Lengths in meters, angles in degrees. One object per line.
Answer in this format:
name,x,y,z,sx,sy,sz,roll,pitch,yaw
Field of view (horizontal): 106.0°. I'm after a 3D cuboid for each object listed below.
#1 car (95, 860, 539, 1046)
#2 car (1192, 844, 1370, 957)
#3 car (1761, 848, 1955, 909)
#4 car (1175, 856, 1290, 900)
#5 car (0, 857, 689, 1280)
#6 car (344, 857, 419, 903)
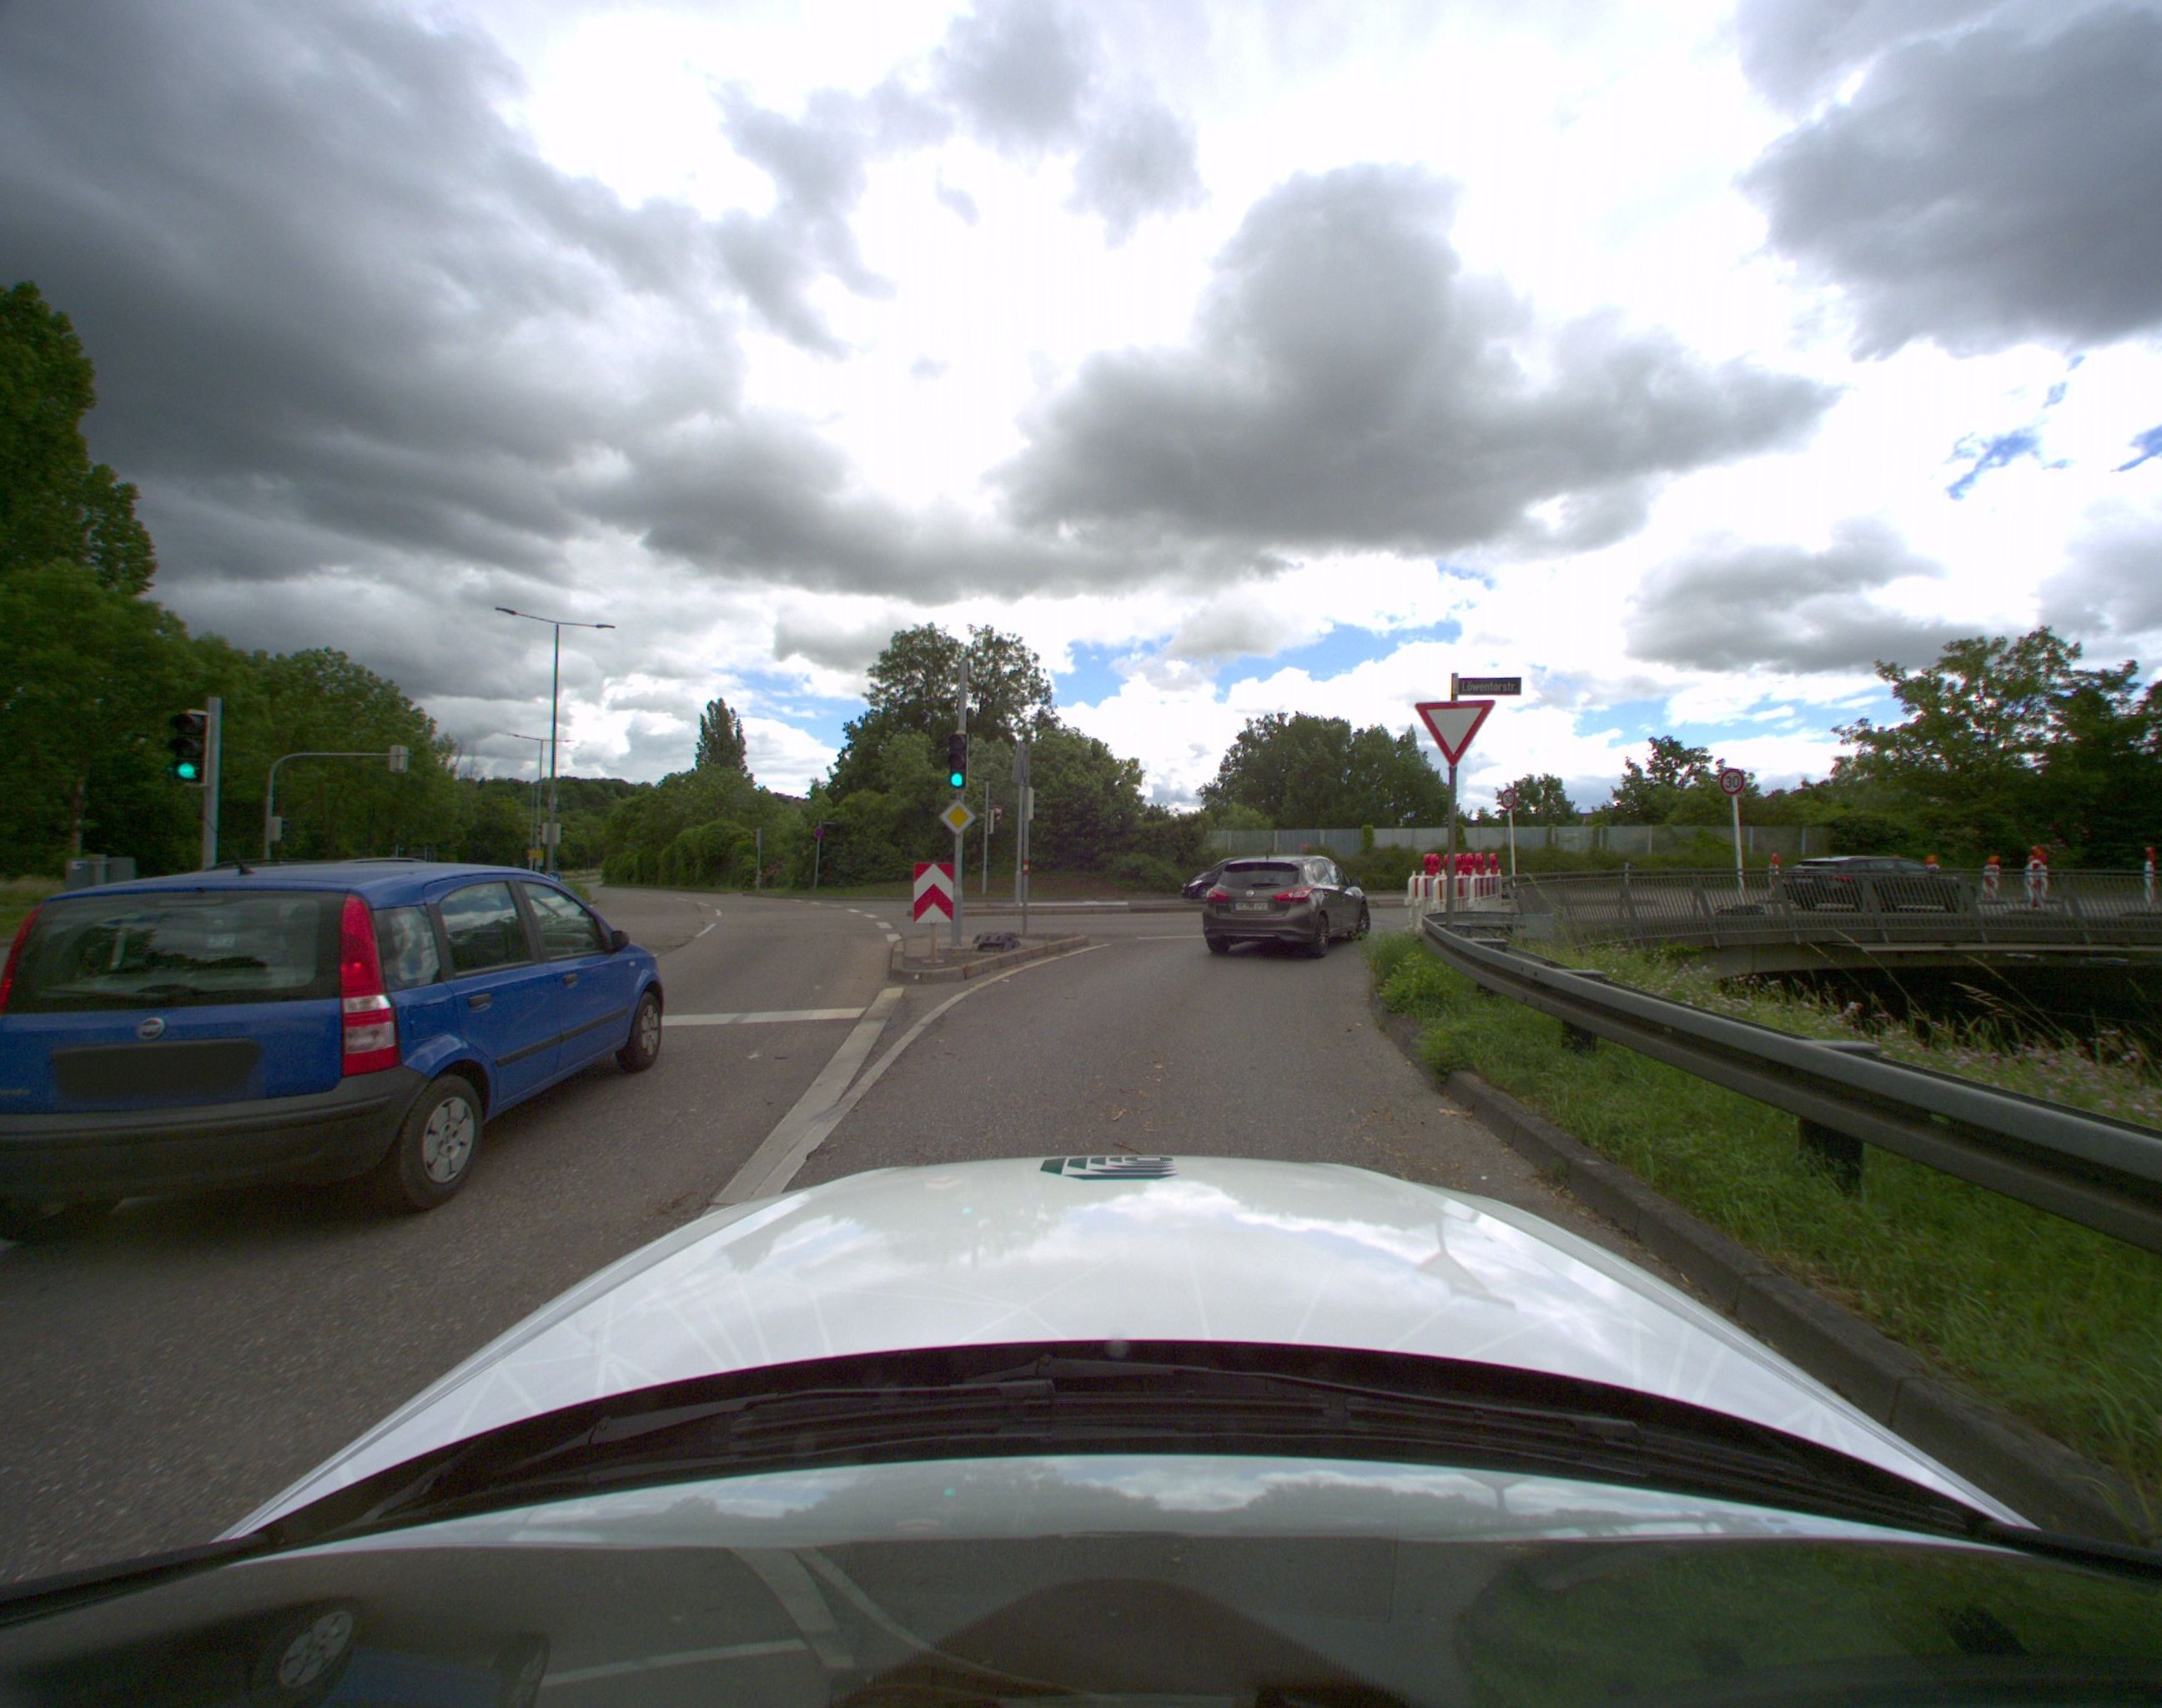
car,-7.809,0.857,8.902,1.655,1.507,3.759,-1,0,-8
car,3.438,0.652,13.431,1.780,1.552,4.025,-1,0,30
car,20.739,0.613,21.825,3.773,1.552,1.821,0,0,-7
car,5.428,0.882,29.350,3.773,1.552,1.639,0,-2,-8
car,-3.667,0.785,4.689,1.542,1.507,3.371,-1,0,-8
car,-31.420,1.131,36.706,2.091,1.759,4.277,3,1,-35
